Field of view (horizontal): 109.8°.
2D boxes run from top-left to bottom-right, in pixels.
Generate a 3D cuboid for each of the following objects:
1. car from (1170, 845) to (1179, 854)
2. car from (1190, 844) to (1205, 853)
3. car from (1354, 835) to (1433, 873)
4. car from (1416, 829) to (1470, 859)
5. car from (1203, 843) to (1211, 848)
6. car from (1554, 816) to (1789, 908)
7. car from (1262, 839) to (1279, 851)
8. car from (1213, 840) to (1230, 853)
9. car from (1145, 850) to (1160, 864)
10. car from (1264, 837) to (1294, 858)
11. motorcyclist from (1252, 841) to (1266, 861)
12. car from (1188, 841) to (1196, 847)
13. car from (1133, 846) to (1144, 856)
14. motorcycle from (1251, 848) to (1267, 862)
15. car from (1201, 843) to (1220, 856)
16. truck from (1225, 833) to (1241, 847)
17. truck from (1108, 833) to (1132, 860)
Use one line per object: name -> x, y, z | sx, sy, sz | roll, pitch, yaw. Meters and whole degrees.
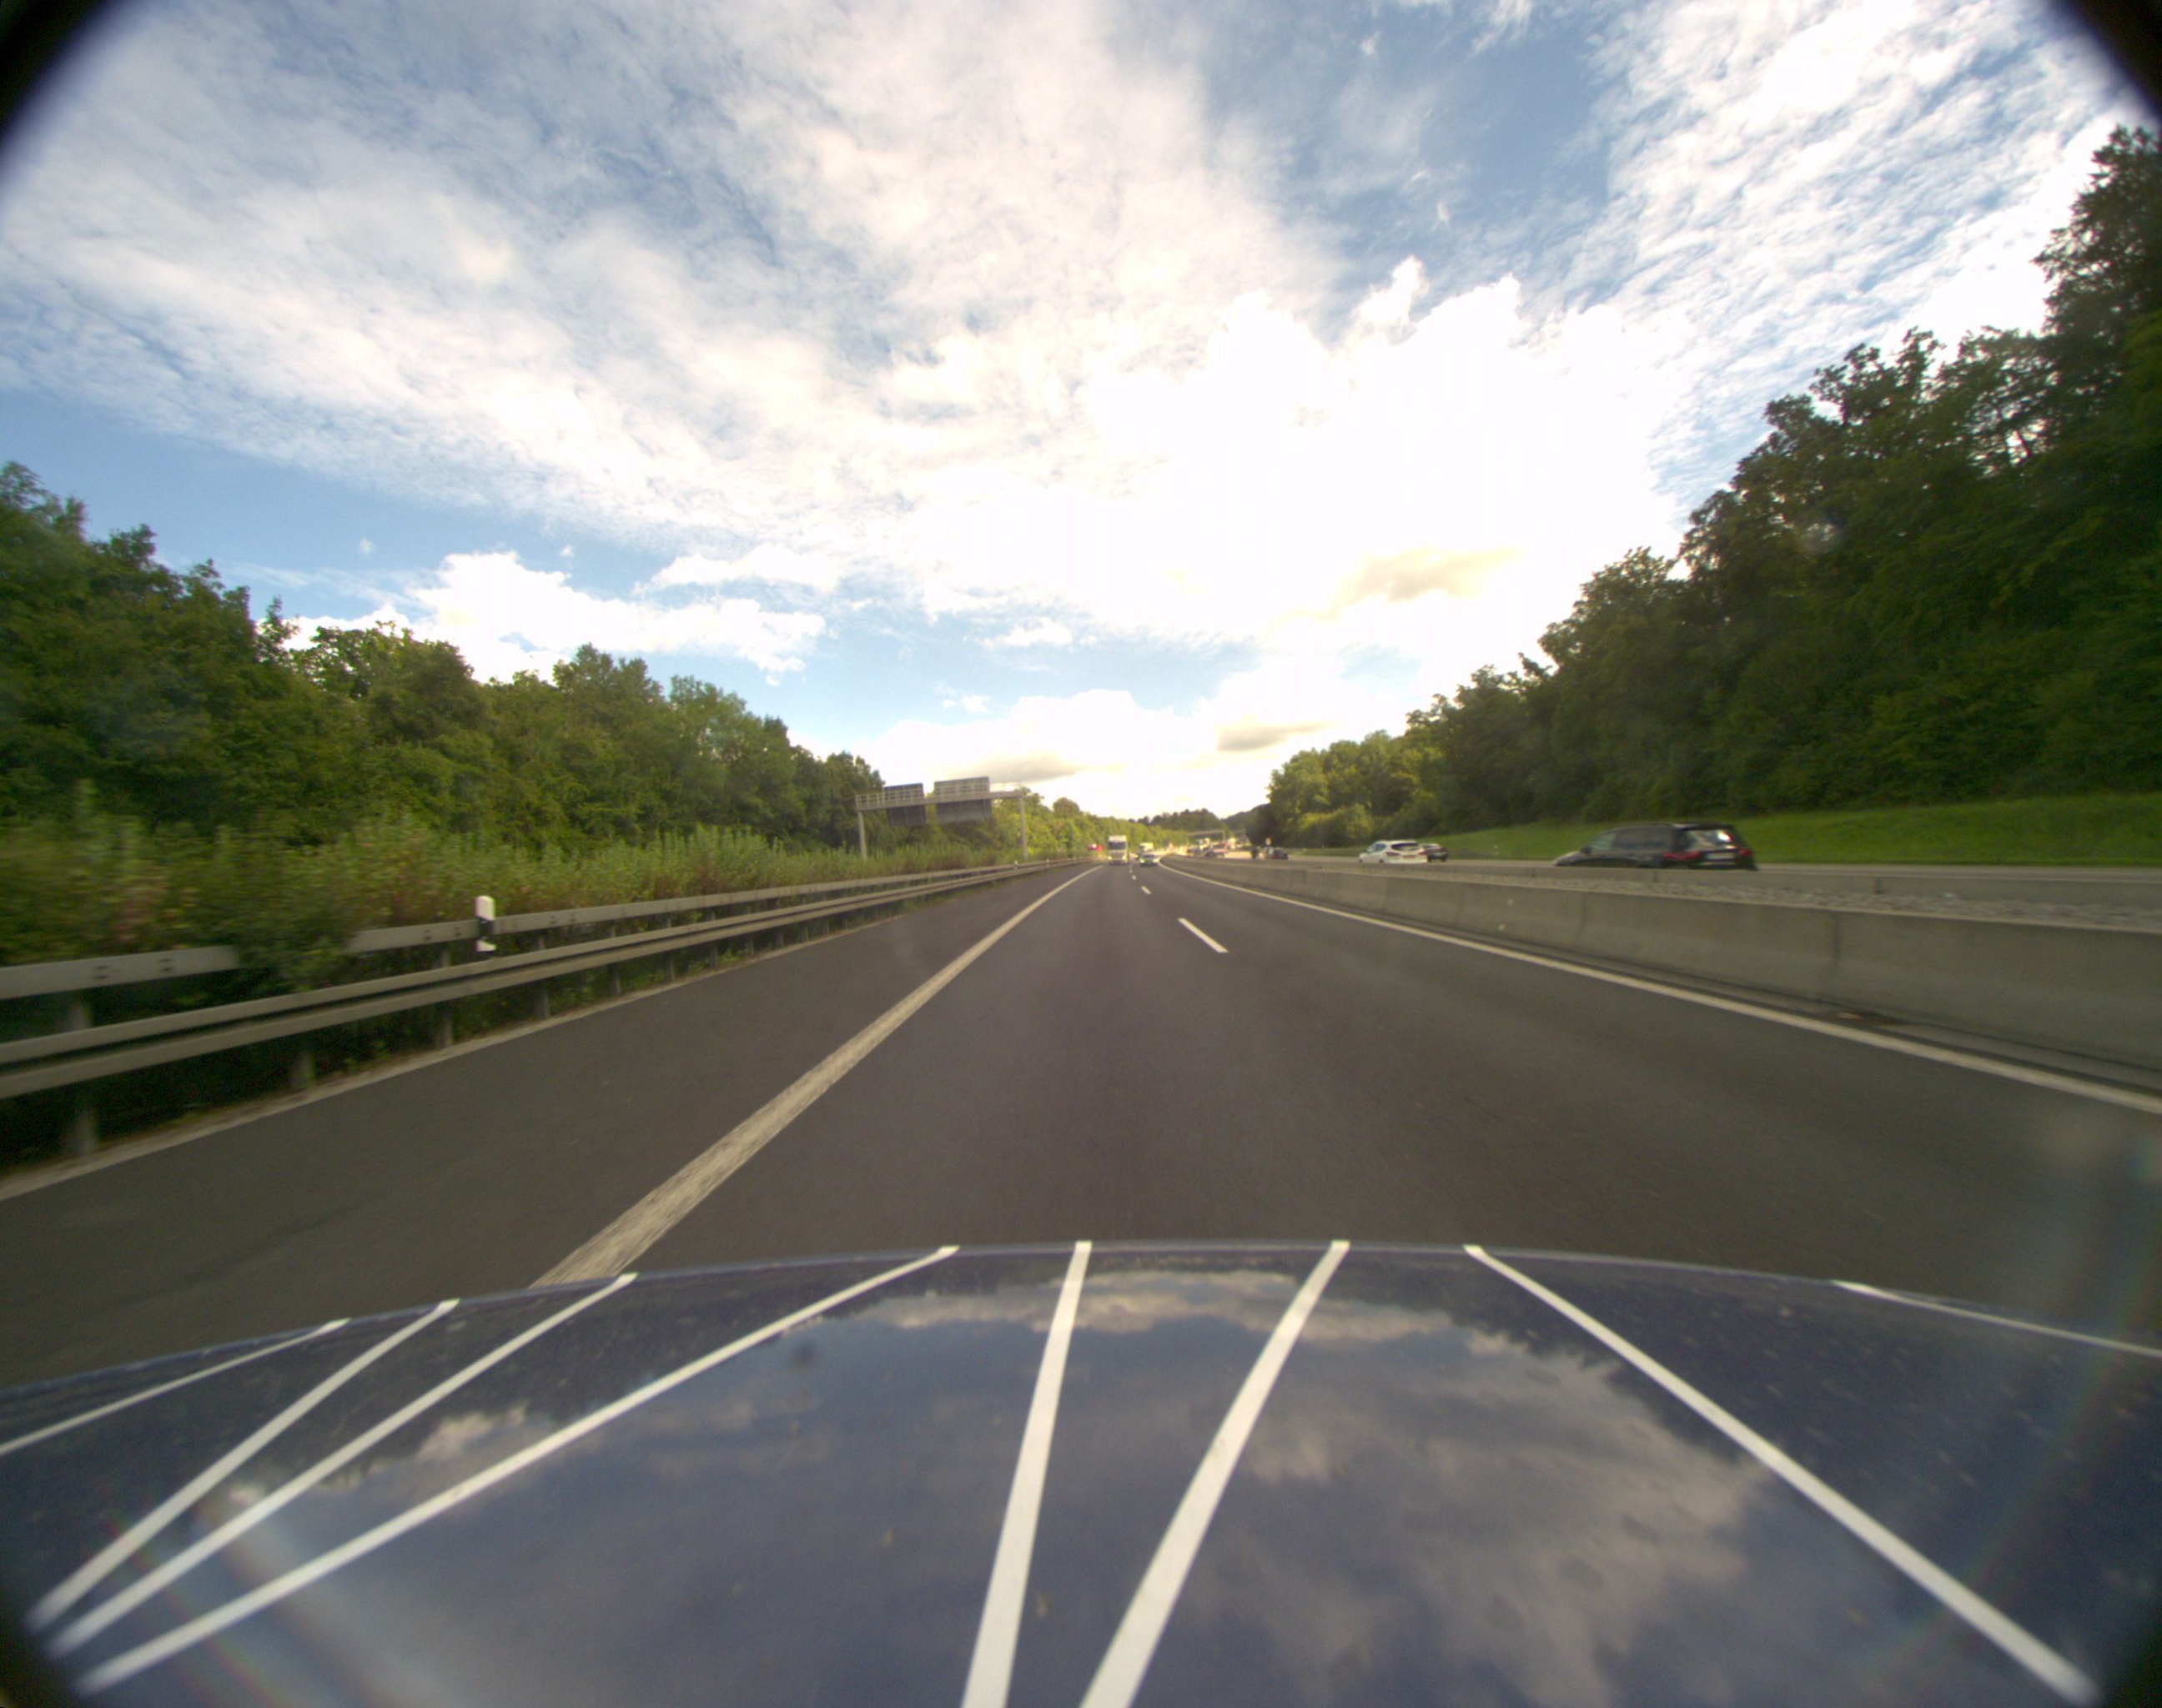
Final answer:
car -> 21.476, -1.020, 174.711 | 1.997, 2.022, 4.002 | -2, 0, 6
car -> 20.112, -0.976, 131.549 | 1.987, 1.501, 5.962 | -3, 0, 5
car -> 13.497, -0.010, 33.060 | 1.765, 1.452, 4.296 | -3, 0, 3
car -> 26.951, -0.727, 56.727 | 2.030, 2.022, 4.782 | -2, 0, 4
car -> 37.416, -2.517, 226.048 | 2.041, 1.484, 5.041 | -3, 0, 7
car -> 12.634, 0.146, 16.682 | 1.880, 1.687, 4.315 | -3, 0, 3
car -> 32.296, -1.543, 129.572 | 1.998, 2.022, 4.001 | -2, 0, 5
car -> 25.511, -1.347, 138.257 | 2.205, 2.117, 8.079 | -3, 0, 6
car -> 8.213, 0.324, 87.040 | 1.662, 1.464, 4.001 | -3, 1, 6
car -> 19.764, -0.668, 76.073 | 1.998, 2.002, 4.778 | -2, 1, 4
motorcyclist -> 15.091, -0.258, 64.481 | 0.897, 1.624, 0.922 | -3, 1, 3
car -> 32.376, -2.834, 221.358 | 1.805, 1.597, 4.484 | -3, 1, 5
car -> 10.783, -0.567, 142.803 | 1.998, 1.798, 3.810 | -2, 0, 6
motorcycle -> 15.107, 0.070, 64.497 | 0.924, 1.181, 2.640 | -2, 0, 5
car -> 17.551, -0.619, 103.364 | 1.998, 1.617, 4.778 | -2, 1, 4
truck -> 46.204, -4.249, 231.834 | 3.457, 4.103, 13.683 | -2, 1, 7
truck -> 5.663, -1.092, 108.095 | 2.795, 3.562, 11.461 | -2, 1, 6
